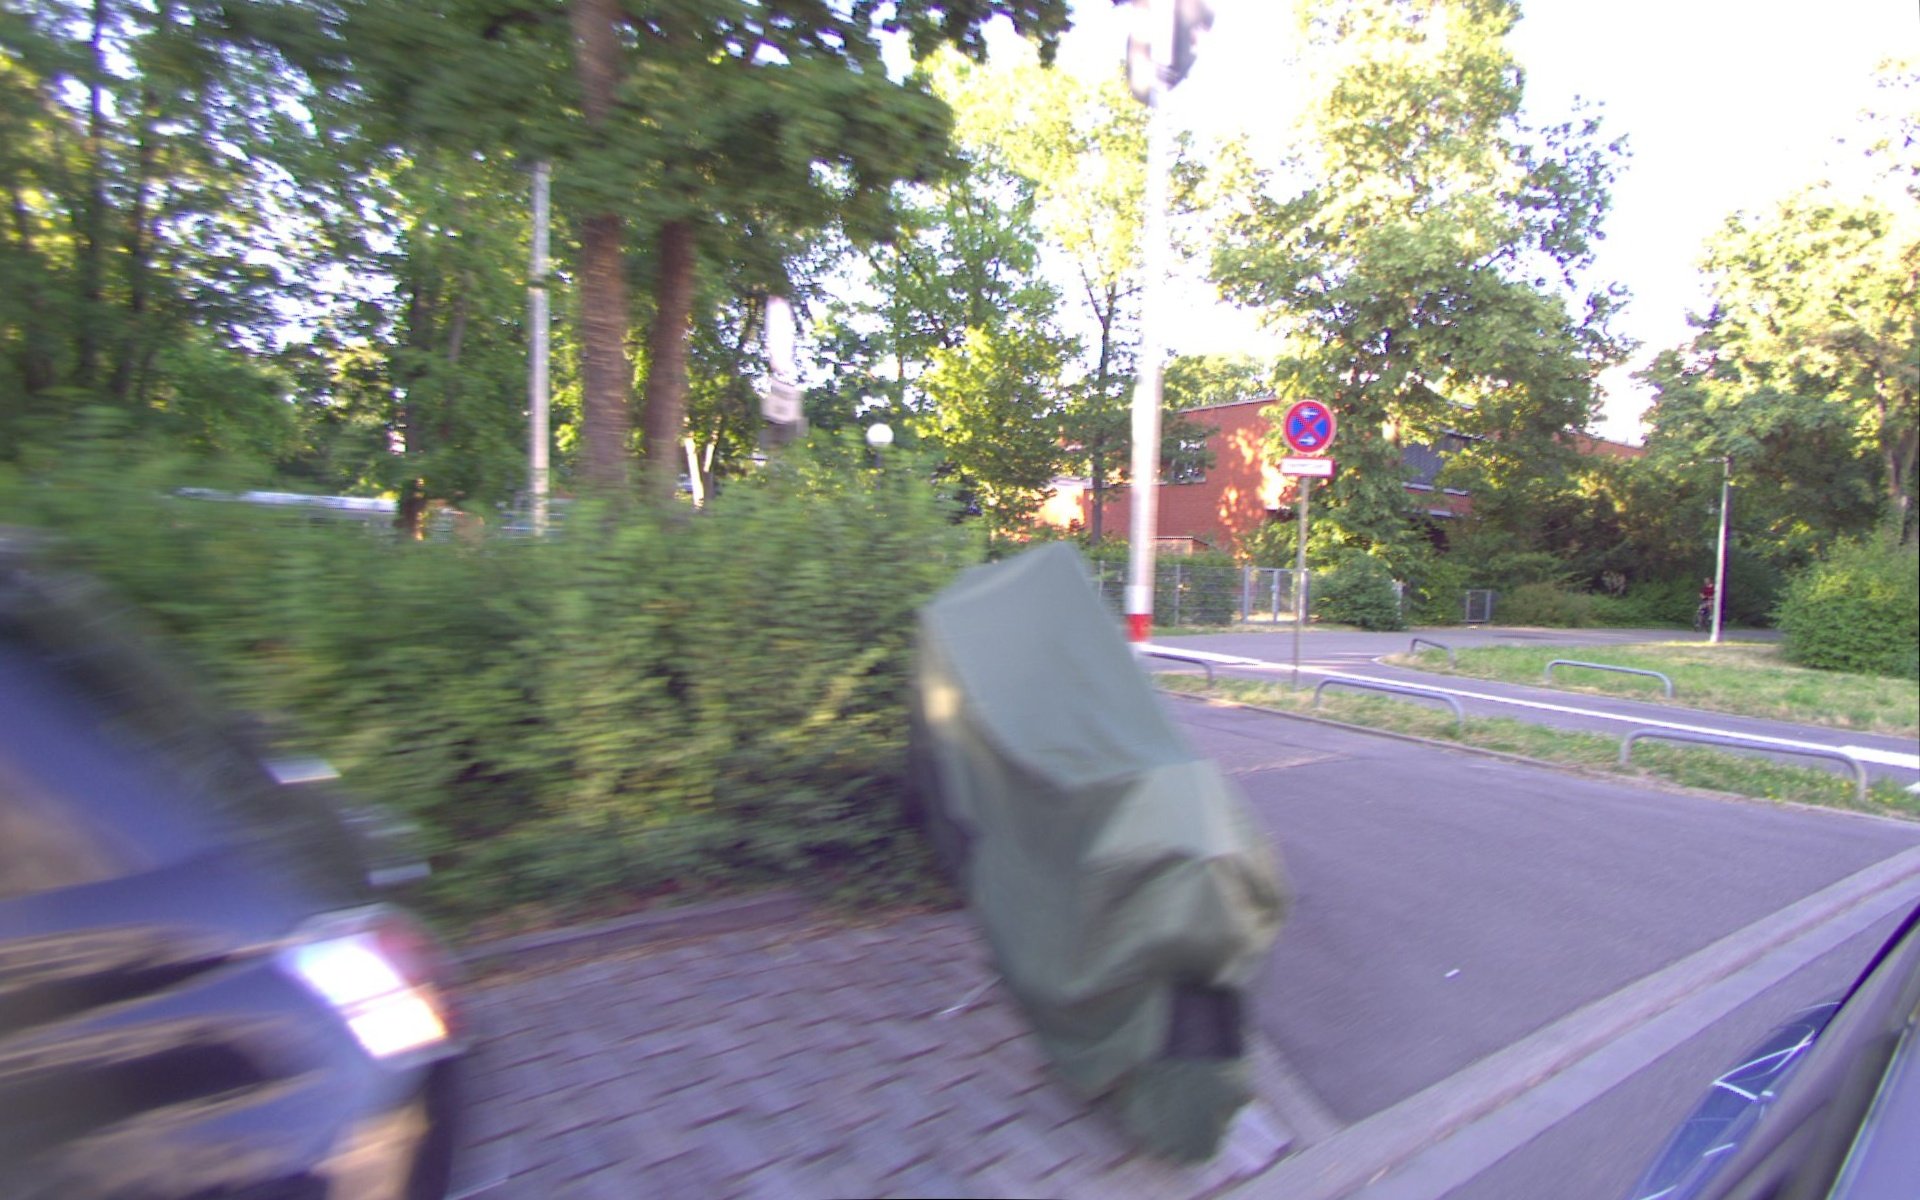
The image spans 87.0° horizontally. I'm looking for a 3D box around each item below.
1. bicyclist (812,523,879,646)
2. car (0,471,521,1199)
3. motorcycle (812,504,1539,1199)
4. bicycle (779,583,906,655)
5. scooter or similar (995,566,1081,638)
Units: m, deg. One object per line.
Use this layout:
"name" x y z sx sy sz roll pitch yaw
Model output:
"bicyclist" -1.601 -0.223 14.122 0.711 1.665 0.534 1 2 -36
"car" -2.402 0.569 0.880 3.360 1.504 1.623 0 3 -42
"motorcycle" 0.378 0.540 3.214 1.018 1.563 2.304 1 3 -25
"bicycle" -1.620 0.261 14.127 1.689 0.929 0.534 1 2 -36
"scooter or similar" 1.403 0.033 18.223 1.440 1.222 0.387 2 2 -7
